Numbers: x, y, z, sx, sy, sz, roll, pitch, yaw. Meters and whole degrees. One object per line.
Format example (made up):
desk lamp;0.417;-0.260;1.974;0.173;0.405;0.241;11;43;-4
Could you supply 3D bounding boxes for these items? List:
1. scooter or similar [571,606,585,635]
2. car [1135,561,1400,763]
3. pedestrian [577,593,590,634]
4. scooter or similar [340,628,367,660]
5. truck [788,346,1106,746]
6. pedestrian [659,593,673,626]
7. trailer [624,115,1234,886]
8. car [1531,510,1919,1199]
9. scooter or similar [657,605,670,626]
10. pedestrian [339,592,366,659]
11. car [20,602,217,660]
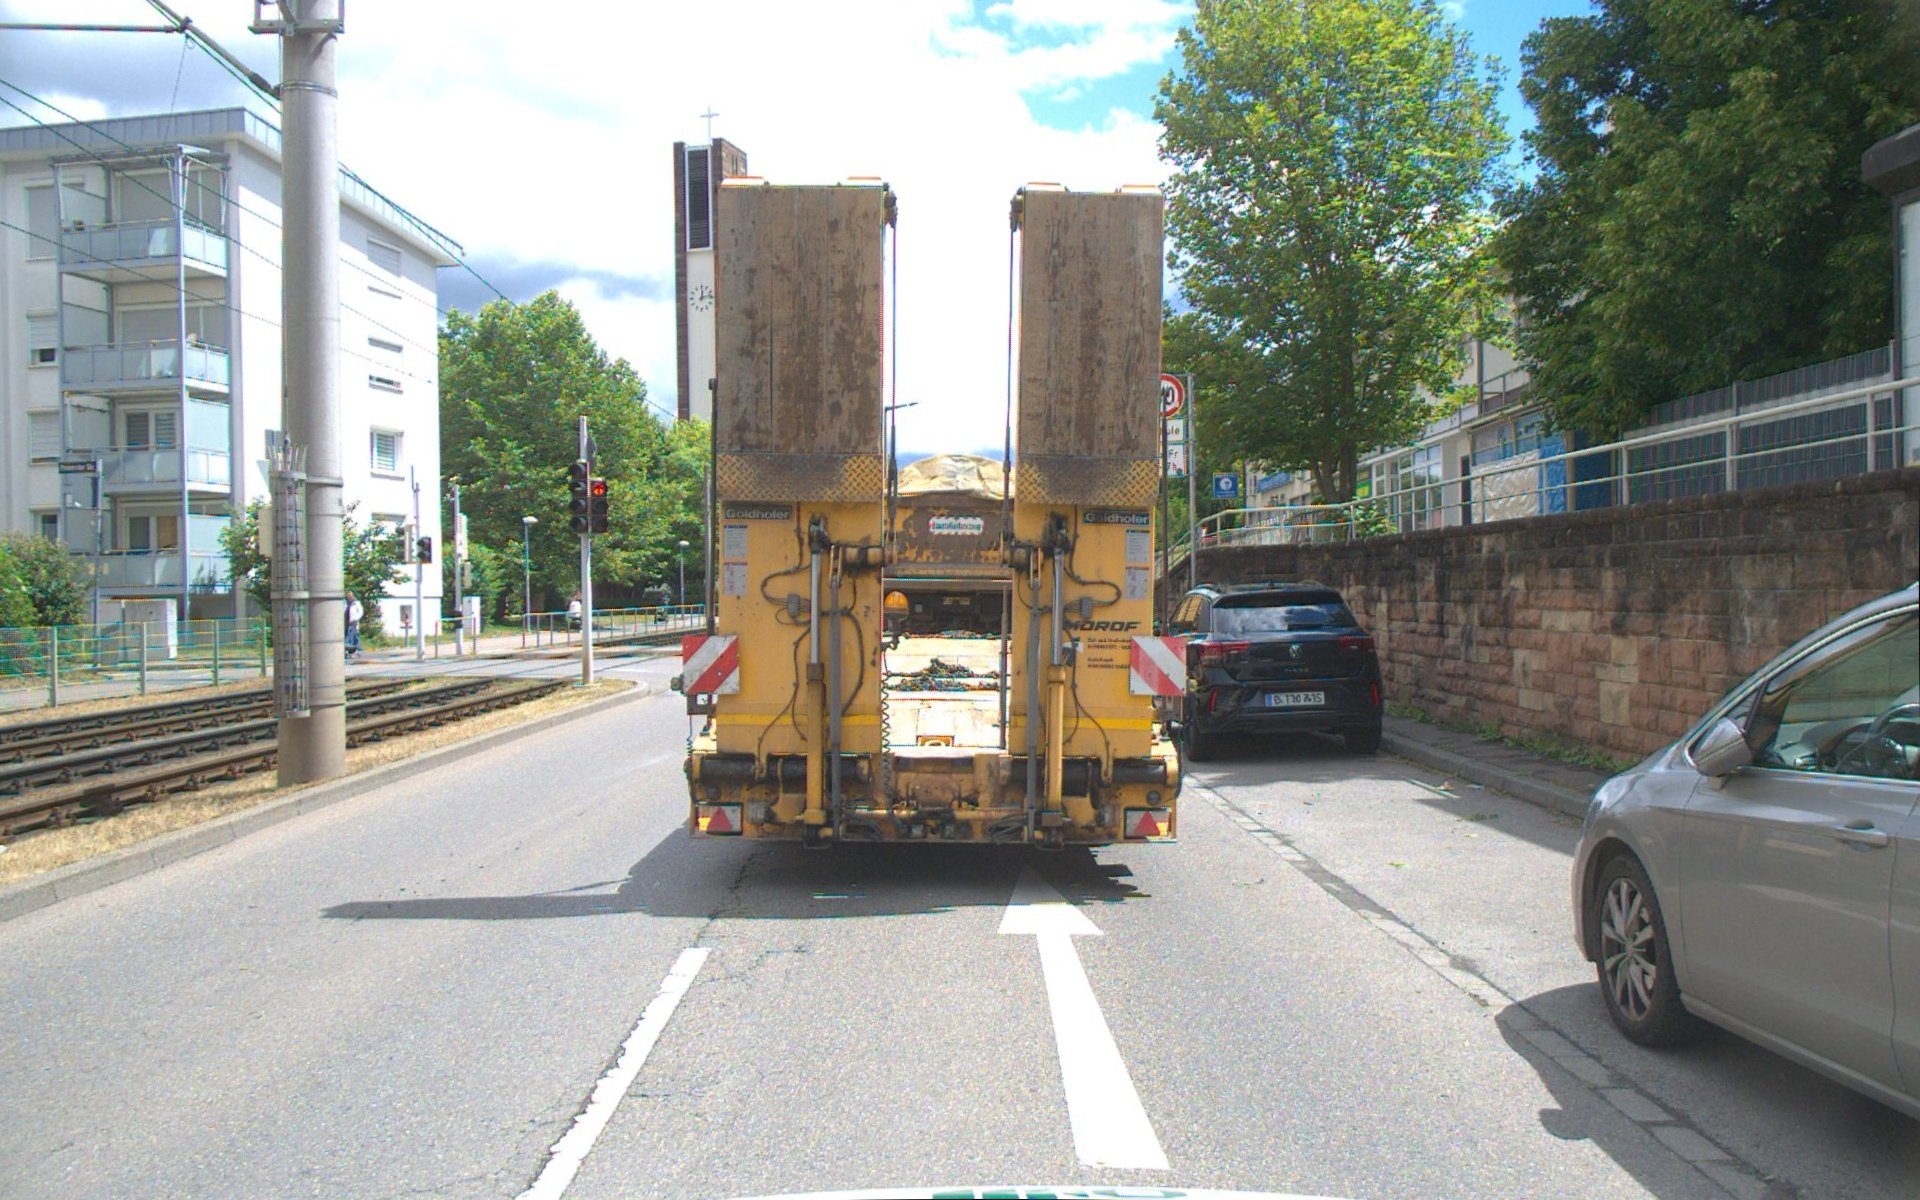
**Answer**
scooter or similar;-14.402;0.762;62.363;0.331;1.076;0.688;0;1;2
car;2.849;0.536;16.200;1.813;1.668;4.000;-2;0;0
pedestrian;-14.358;0.516;63.065;0.341;1.564;0.557;-1;0;3
scooter or similar;-14.368;1.041;39.203;0.428;0.760;0.475;-1;0;4
truck;-0.115;-0.512;17.631;2.882;3.635;4.876;-1;0;0
pedestrian;-14.126;0.457;79.420;0.552;1.540;0.645;1;0;-2
trailer;-0.130;-0.502;12.272;2.885;3.664;8.684;-1;0;0
car;3.143;0.584;4.238;1.754;1.646;4.247;-2;0;-2
scooter or similar;-14.137;0.735;78.765;0.495;0.988;0.645;1;0;-2
pedestrian;-14.571;0.607;39.676;0.428;1.608;0.475;-1;0;4
car;-20.619;0.750;40.602;3.902;1.369;1.902;-1;0;7
